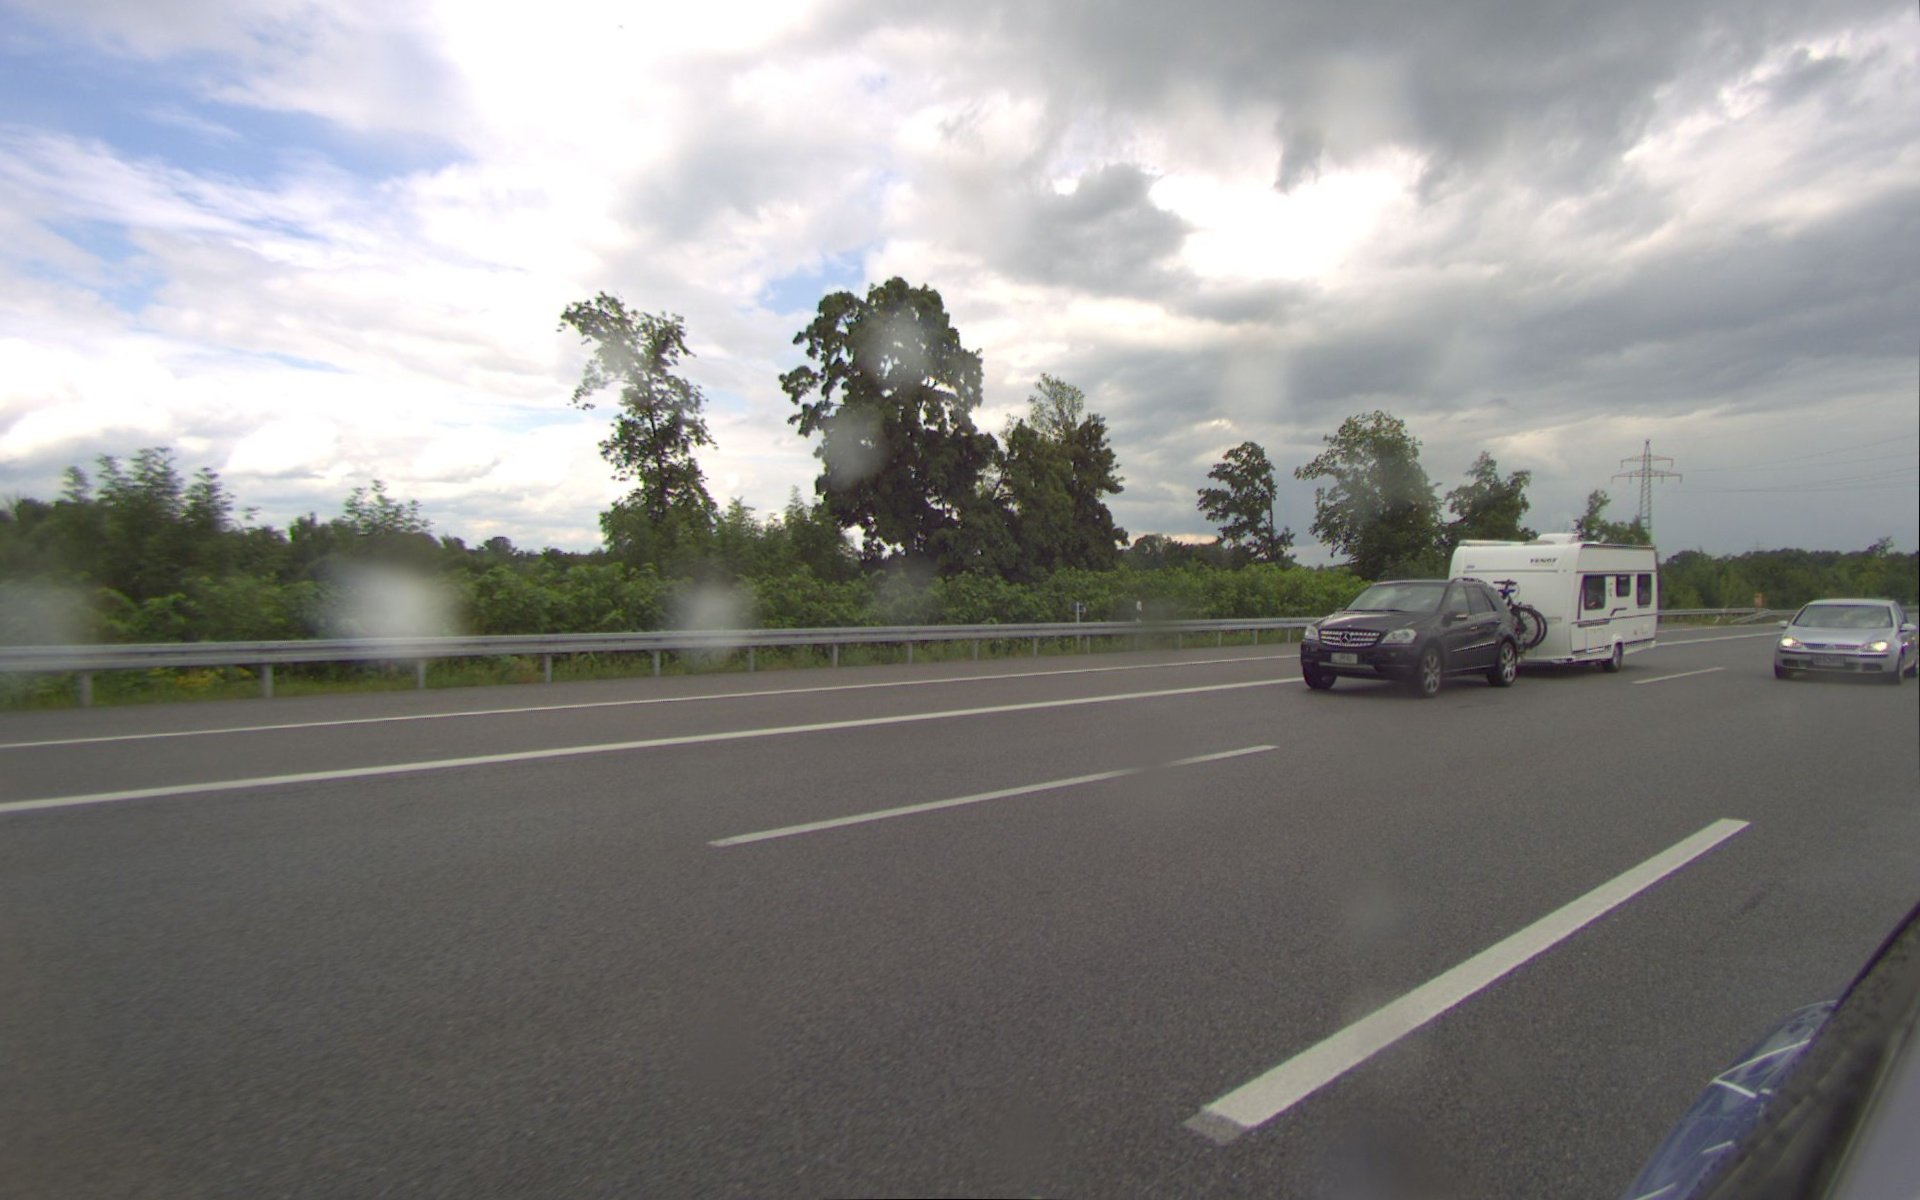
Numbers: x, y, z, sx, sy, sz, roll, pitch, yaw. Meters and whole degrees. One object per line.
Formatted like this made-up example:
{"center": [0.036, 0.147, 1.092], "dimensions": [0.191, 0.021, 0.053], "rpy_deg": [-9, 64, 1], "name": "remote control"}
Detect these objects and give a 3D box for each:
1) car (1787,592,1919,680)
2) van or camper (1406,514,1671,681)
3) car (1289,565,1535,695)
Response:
{"center": [16.884, 0.588, 18.853], "dimensions": [3.930, 1.464, 1.682], "rpy_deg": [0, 1, -41], "name": "car"}
{"center": [11.623, -0.066, 20.016], "dimensions": [7.083, 2.773, 2.388], "rpy_deg": [0, 0, -41], "name": "van or camper"}
{"center": [7.289, 0.391, 16.131], "dimensions": [4.424, 1.798, 1.923], "rpy_deg": [0, 0, -41], "name": "car"}
